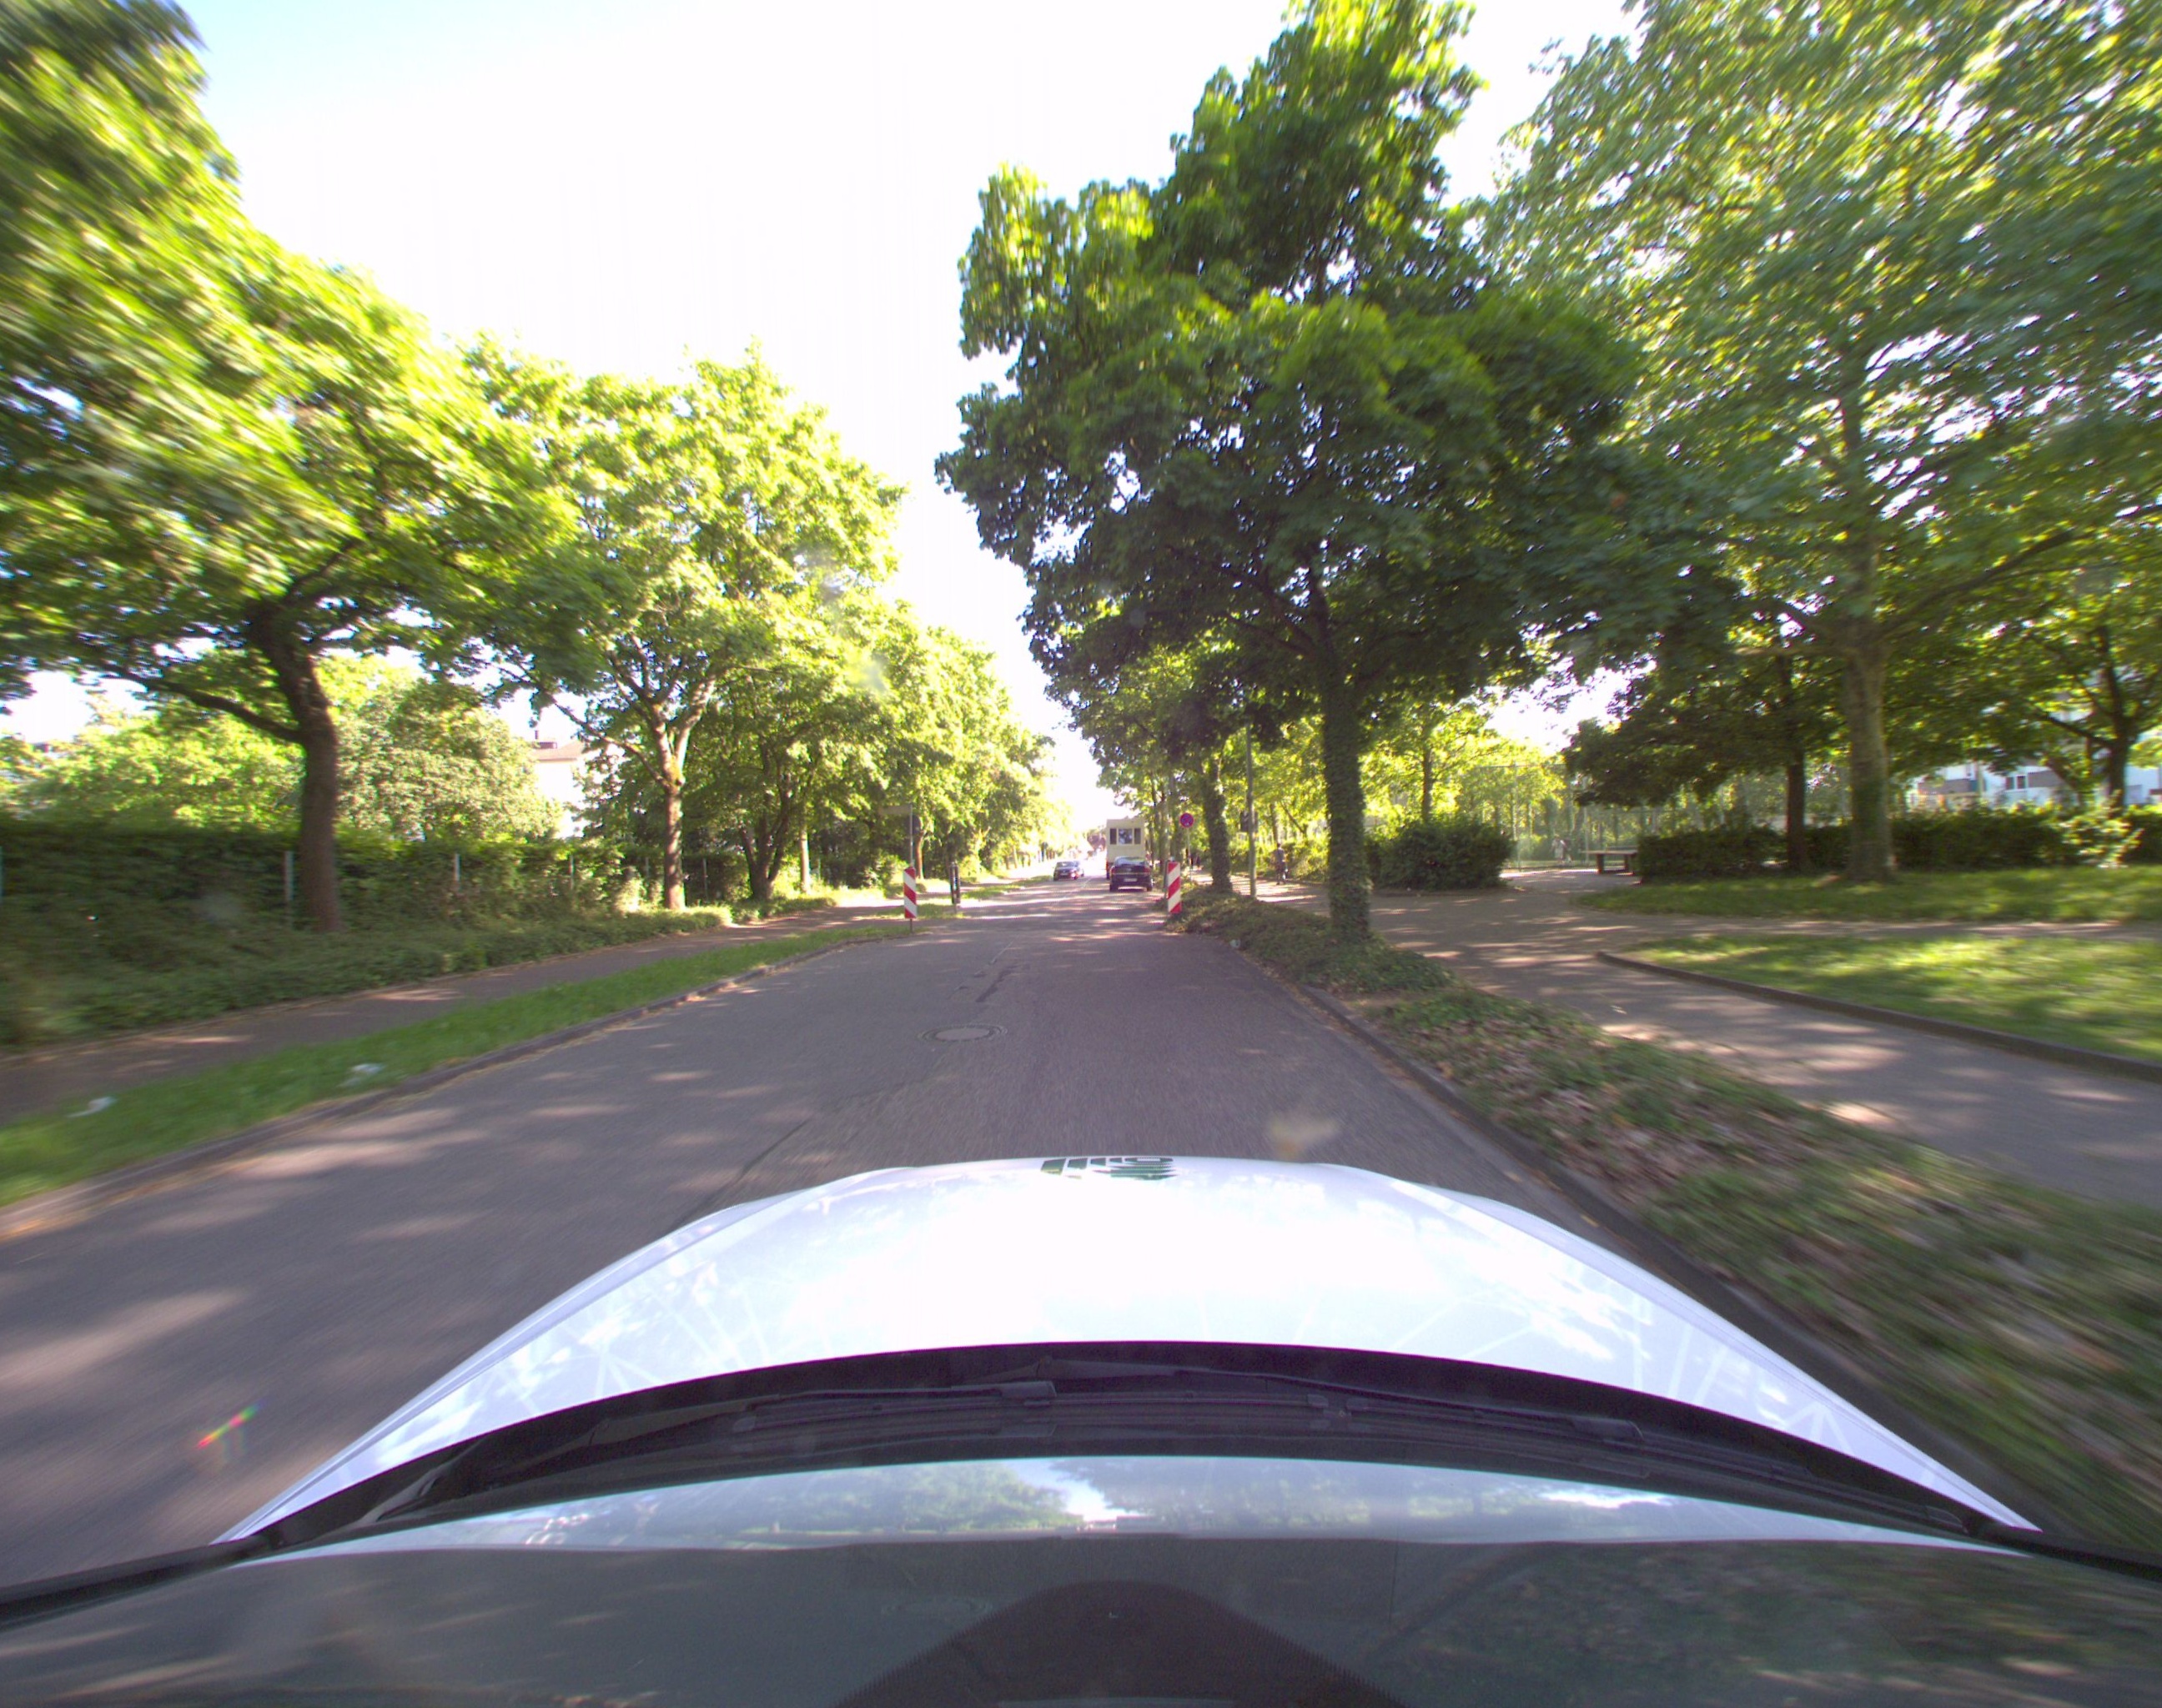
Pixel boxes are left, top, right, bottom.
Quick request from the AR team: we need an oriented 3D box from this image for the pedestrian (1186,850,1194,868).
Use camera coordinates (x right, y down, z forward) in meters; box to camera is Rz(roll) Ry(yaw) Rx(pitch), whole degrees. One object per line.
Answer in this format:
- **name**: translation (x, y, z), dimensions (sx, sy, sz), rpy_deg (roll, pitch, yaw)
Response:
- **pedestrian**: translation (10.087, 0.429, 75.500), dimensions (0.596, 1.611, 0.600), rpy_deg (-3, 0, -1)

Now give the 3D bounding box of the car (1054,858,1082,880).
- **car**: translation (-0.951, 1.081, 59.400), dimensions (1.593, 1.426, 3.657), rpy_deg (-3, 0, 5)

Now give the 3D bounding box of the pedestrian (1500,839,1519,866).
- **pedestrian**: translation (18.952, -0.052, 36.010), dimensions (0.494, 1.172, 0.560), rpy_deg (0, -1, -21)

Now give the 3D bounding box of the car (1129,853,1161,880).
- **car**: translation (3.682, 0.680, 46.660), dimensions (1.632, 1.420, 4.005), rpy_deg (-4, 0, 5)

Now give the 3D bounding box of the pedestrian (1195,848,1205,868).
- **pedestrian**: translation (10.949, 0.401, 75.132), dimensions (0.696, 1.812, 0.700), rpy_deg (-3, 0, -1)

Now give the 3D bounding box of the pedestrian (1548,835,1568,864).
- **pedestrian**: translation (19.444, -0.189, 33.185), dimensions (0.497, 1.172, 0.558), rpy_deg (1, -1, -43)

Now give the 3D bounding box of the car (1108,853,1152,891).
- **car**: translation (2.107, 0.758, 34.512), dimensions (1.740, 1.480, 4.035), rpy_deg (-1, -1, 4)

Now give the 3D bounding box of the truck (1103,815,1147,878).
- **truck**: translation (2.951, -0.461, 56.646), dimensions (2.762, 3.996, 10.352), rpy_deg (-1, 0, 2)

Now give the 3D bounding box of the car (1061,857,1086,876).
- **car**: translation (-0.636, 1.008, 69.744), dimensions (1.748, 1.454, 4.247), rpy_deg (-3, 0, 4)

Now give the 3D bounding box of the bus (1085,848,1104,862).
- **bus**: translation (3.566, 0.164, 211.818), dimensions (4.046, 3.349, 9.813), rpy_deg (-3, 0, 5)

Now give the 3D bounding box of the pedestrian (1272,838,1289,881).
- **pedestrian**: translation (7.580, 0.212, 31.011), dimensions (0.568, 1.608, 0.673), rpy_deg (-2, 0, 11)
